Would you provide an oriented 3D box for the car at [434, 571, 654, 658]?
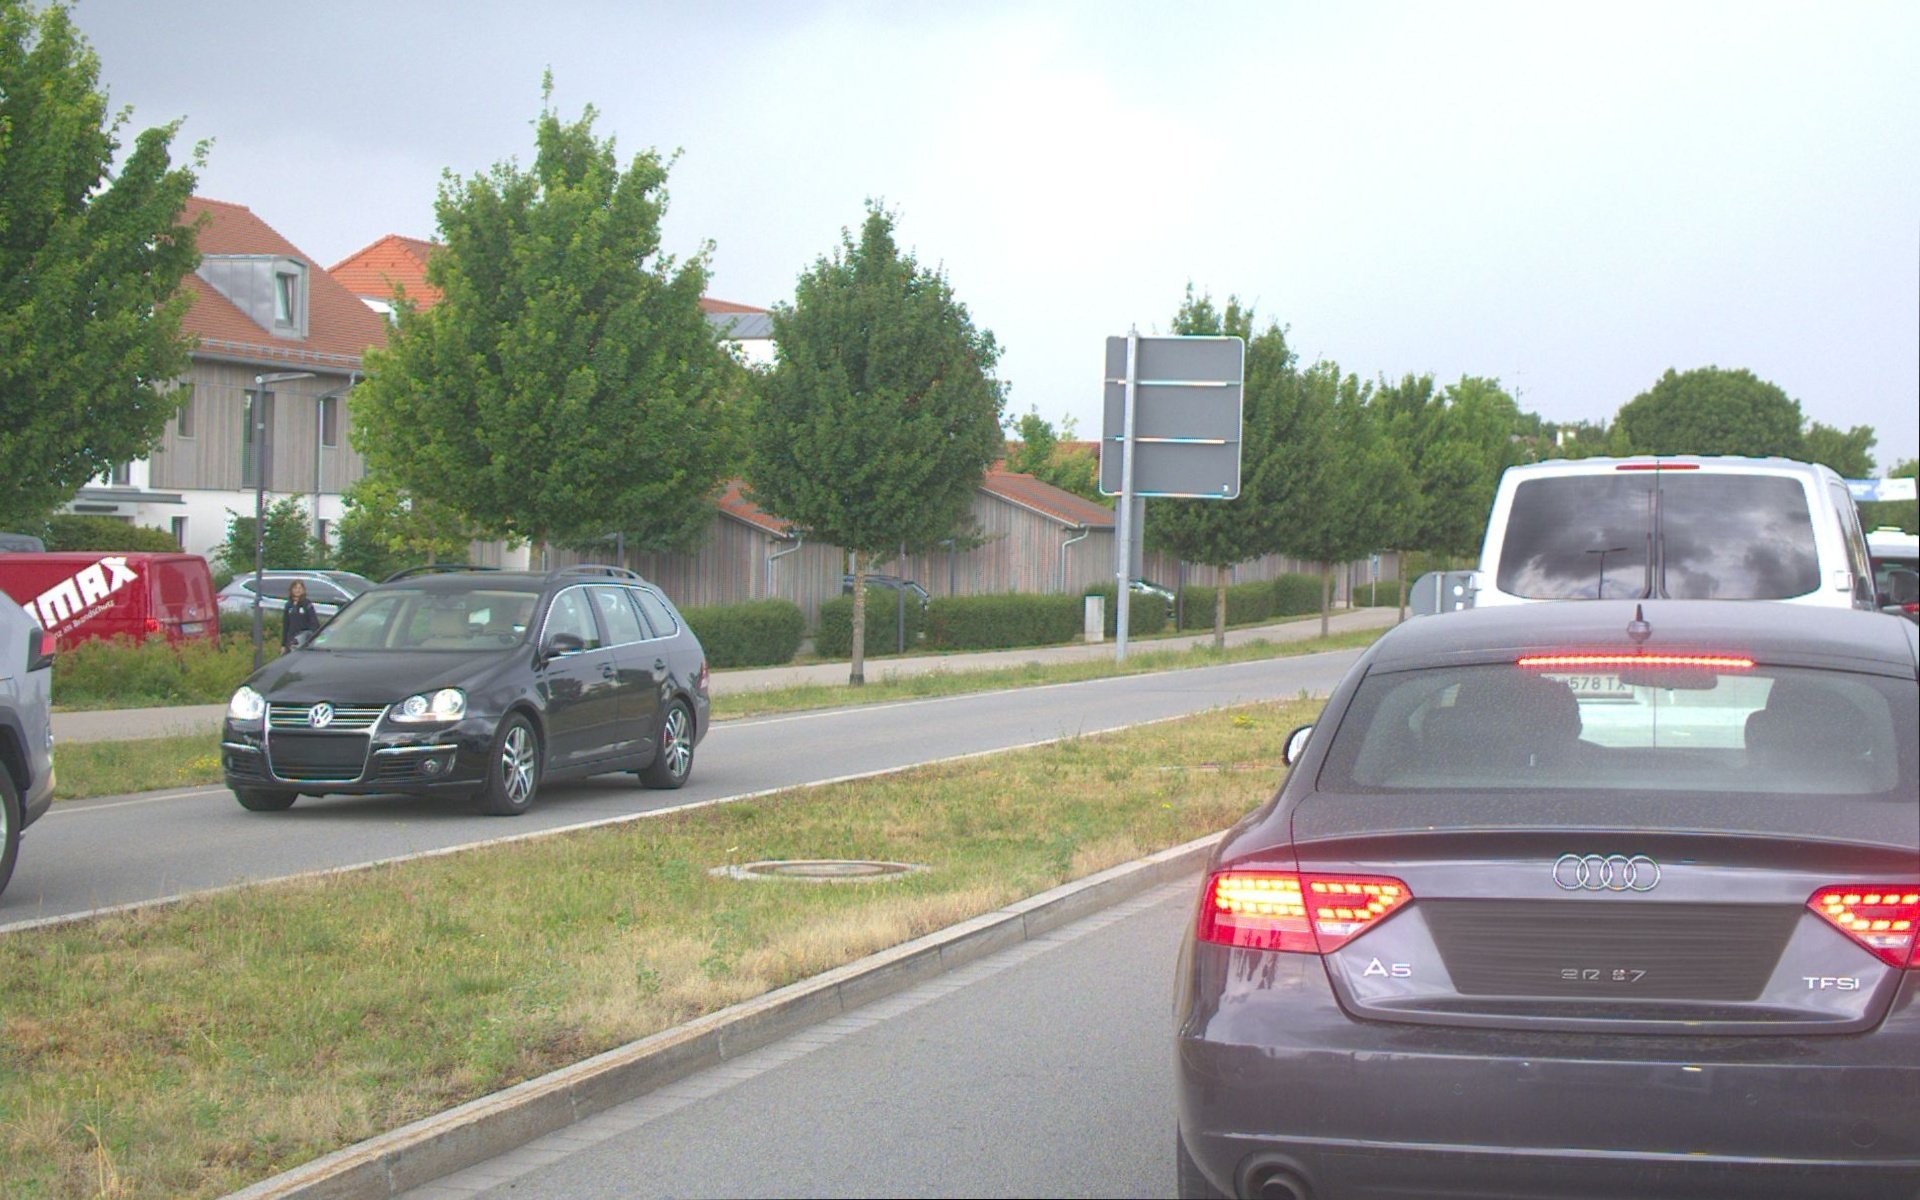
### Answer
[{"bbox_3d":[-7.818,0.259,64.699,3.731,1.477,1.685,2,1,13],"label":"car"}]

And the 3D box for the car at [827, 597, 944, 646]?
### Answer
[{"bbox_3d":[-1.694,0.486,78.659,2.473,1.025,1.185,2,1,11],"label":"car"}]

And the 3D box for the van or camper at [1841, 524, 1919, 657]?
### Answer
[{"bbox_3d":[24.540,-0.214,90.034,2.627,3.312,6.816,2,0,15],"label":"van or camper"}]

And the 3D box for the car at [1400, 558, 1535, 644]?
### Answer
[{"bbox_3d":[8.963,0.046,60.524,1.731,1.405,4.202,-2,-1,17],"label":"car"}]

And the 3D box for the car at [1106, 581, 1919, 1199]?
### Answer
[{"bbox_3d":[1.634,0.689,7.923,1.785,1.387,4.130,2,1,14],"label":"car"}]

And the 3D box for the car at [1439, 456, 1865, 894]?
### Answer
[{"bbox_3d":[3.558,0.306,17.316,1.868,1.927,3.997,0,1,14],"label":"car"}]

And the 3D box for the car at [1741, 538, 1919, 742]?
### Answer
[{"bbox_3d":[7.790,0.305,29.739,1.778,1.612,3.997,2,1,16],"label":"car"}]

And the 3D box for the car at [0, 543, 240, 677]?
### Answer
[{"bbox_3d":[-12.367,0.094,46.959,4.535,1.674,1.998,2,1,19],"label":"car"}]

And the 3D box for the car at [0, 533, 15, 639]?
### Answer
[{"bbox_3d":[-17.683,-0.271,56.205,1.996,1.766,4.460,2,0,21],"label":"car"}]

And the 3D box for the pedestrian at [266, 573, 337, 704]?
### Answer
[{"bbox_3d":[-7.946,0.455,41.518,0.582,1.553,0.659,2,1,14],"label":"pedestrian"}]

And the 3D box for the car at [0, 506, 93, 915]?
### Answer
[{"bbox_3d":[-5.408,0.470,13.056,1.995,1.698,4.631,0,1,17],"label":"car"}]

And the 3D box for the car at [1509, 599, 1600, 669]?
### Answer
[{"bbox_3d":[14.822,0.824,85.559,1.868,1.568,3.997,2,1,14],"label":"car"}]

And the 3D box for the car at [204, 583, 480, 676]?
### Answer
[{"bbox_3d":[-9.886,0.454,55.110,3.917,1.310,1.841,2,1,14],"label":"car"}]

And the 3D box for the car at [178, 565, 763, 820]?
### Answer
[{"bbox_3d":[-2.894,0.497,21.413,1.755,1.411,4.451,0,0,19],"label":"car"}]
